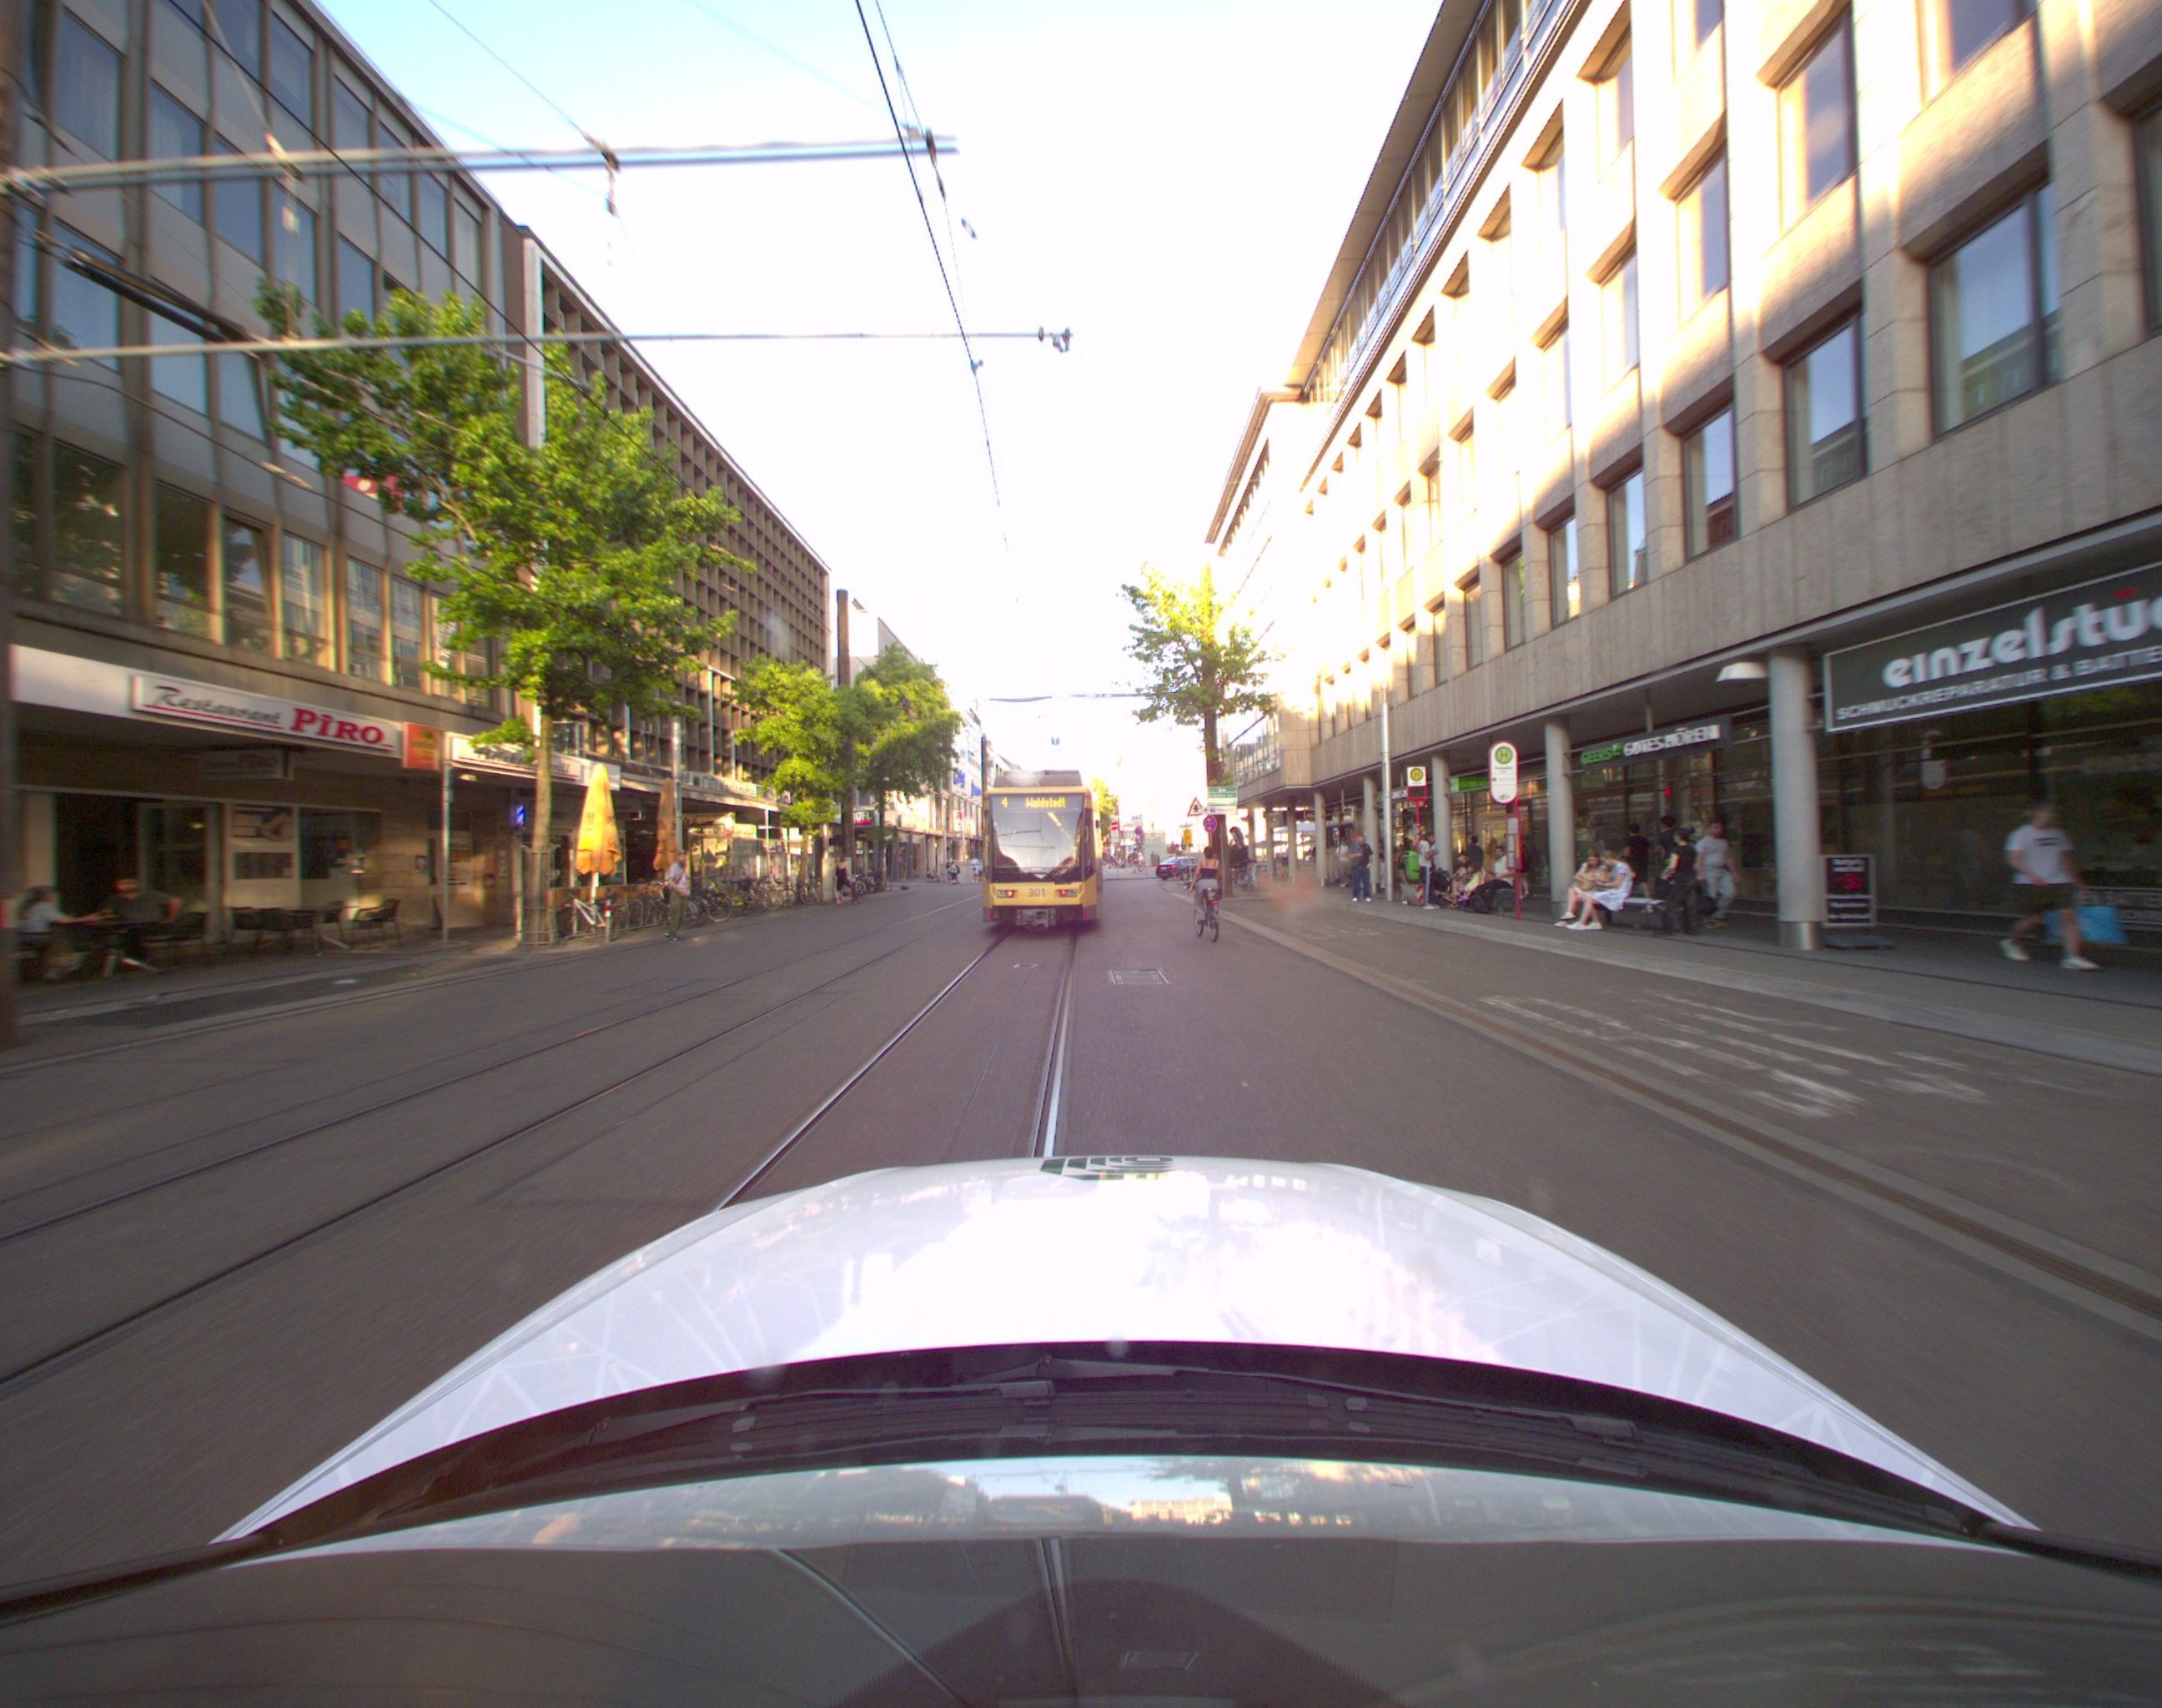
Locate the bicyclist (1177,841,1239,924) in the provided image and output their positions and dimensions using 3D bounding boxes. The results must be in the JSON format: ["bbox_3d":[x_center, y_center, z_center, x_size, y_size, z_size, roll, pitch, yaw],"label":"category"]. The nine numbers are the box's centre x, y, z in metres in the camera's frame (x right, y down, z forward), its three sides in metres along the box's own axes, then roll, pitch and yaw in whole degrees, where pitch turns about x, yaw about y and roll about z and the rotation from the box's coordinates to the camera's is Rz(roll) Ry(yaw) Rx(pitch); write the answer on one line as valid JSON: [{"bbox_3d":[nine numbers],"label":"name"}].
[{"bbox_3d":[2.354,0.522,15.219,0.995,1.502,0.856,0,0,-4],"label":"bicyclist"}]

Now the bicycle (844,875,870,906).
[{"bbox_3d":[-8.036,1.296,29.224,0.486,1.045,1.776,-1,0,-2],"label":"bicycle"}]

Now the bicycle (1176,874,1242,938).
[{"bbox_3d":[2.352,0.932,15.246,0.813,1.073,2.111,0,0,-3],"label":"bicycle"}]

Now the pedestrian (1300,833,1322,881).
[{"bbox_3d":[10.050,0.136,35.569,0.684,2.014,0.783,-2,-1,1],"label":"pedestrian"}]

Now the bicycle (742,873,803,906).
[{"bbox_3d":[-10.120,1.166,26.748,1.769,1.071,0.488,1,0,-6],"label":"bicycle"}]

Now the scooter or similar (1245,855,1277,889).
[{"bbox_3d":[6.896,0.681,31.239,1.119,1.251,0.492,-3,0,-30],"label":"scooter or similar"}]

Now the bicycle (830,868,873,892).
[{"bbox_3d":[-10.243,1.152,36.373,1.766,1.045,0.489,0,0,0],"label":"bicycle"}]

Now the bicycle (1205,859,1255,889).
[{"bbox_3d":[6.552,0.878,35.787,1.992,1.155,0.724,-4,0,-5],"label":"bicycle"}]

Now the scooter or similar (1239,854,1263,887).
[{"bbox_3d":[6.853,0.667,32.763,0.388,1.251,1.199,-2,0,39],"label":"scooter or similar"}]

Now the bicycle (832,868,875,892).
[{"bbox_3d":[-10.236,1.154,36.616,1.766,1.045,0.489,0,0,0],"label":"bicycle"}]

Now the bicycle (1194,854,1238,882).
[{"bbox_3d":[6.549,0.683,39.477,1.911,1.222,0.762,-4,0,-5],"label":"bicycle"}]

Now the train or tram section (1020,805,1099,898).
[{"bbox_3d":[-0.751,-0.068,36.974,2.791,3.319,14.507,-1,0,0],"label":"train or tram section"}]

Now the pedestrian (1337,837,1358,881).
[{"bbox_3d":[11.531,0.206,35.205,0.659,1.848,0.720,-2,-1,6],"label":"pedestrian"}]

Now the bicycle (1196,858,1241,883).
[{"bbox_3d":[6.540,0.766,38.729,1.911,1.078,0.762,-4,0,-5],"label":"bicycle"}]

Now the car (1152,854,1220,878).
[{"bbox_3d":[6.558,0.733,50.752,4.067,1.409,1.757,0,-2,-33],"label":"car"}]

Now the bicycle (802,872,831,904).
[{"bbox_3d":[-9.406,1.185,29.036,0.486,1.045,1.776,-1,0,-2],"label":"bicycle"}]

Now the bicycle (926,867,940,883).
[{"bbox_3d":[-10.824,1.539,59.495,0.496,1.107,1.803,-1,1,6],"label":"bicycle"}]

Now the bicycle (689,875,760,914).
[{"bbox_3d":[-10.103,1.139,23.090,1.769,1.071,0.488,1,0,-6],"label":"bicycle"}]

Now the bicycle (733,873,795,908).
[{"bbox_3d":[-10.137,1.172,26.095,1.769,1.071,0.488,1,0,-6],"label":"bicycle"}]

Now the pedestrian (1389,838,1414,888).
[{"bbox_3d":[11.517,0.323,29.291,0.568,1.731,0.617,-2,-1,-1],"label":"pedestrian"}]

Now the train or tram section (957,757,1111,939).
[{"bbox_3d":[-0.840,-0.098,22.435,2.791,3.319,14.507,-1,0,0],"label":"train or tram section"}]

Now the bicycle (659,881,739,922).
[{"bbox_3d":[-9.633,1.191,20.575,1.769,0.990,0.488,0,0,-6],"label":"bicycle"}]

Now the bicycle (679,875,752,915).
[{"bbox_3d":[-10.090,1.132,22.512,1.769,1.071,0.488,1,0,-6],"label":"bicycle"}]

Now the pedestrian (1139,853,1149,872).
[{"bbox_3d":[6.115,0.848,78.732,0.734,1.823,0.816,-1,-1,-14],"label":"pedestrian"}]

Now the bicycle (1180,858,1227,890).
[{"bbox_3d":[5.526,0.899,36.669,1.911,1.333,0.724,-4,0,-5],"label":"bicycle"}]

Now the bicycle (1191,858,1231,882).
[{"bbox_3d":[6.560,0.801,41.196,1.848,1.109,0.666,-3,0,-2],"label":"bicycle"}]

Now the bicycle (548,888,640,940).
[{"bbox_3d":[-9.683,1.176,16.188,1.758,0.966,0.491,0,-1,17],"label":"bicycle"}]

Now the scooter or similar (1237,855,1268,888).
[{"bbox_3d":[6.782,0.675,32.174,1.194,1.251,0.389,-3,0,-29],"label":"scooter or similar"}]

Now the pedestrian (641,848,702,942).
[{"bbox_3d":[-8.142,0.783,16.180,0.827,1.793,0.978,0,-1,-44],"label":"pedestrian"}]

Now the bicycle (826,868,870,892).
[{"bbox_3d":[-10.227,1.145,35.795,1.766,1.045,0.489,0,0,0],"label":"bicycle"}]

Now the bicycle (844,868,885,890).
[{"bbox_3d":[-10.179,1.172,38.257,1.766,1.045,0.489,0,0,0],"label":"bicycle"}]

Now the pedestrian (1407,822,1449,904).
[{"bbox_3d":[8.010,0.213,18.820,0.637,1.839,0.668,-2,-1,1],"label":"pedestrian"}]

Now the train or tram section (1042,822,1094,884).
[{"bbox_3d":[-0.669,-0.037,51.511,2.791,3.319,14.507,-1,0,0],"label":"train or tram section"}]

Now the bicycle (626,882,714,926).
[{"bbox_3d":[-9.657,1.176,19.163,1.769,0.990,0.488,0,0,-6],"label":"bicycle"}]

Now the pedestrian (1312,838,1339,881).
[{"bbox_3d":[10.037,0.231,33.480,0.760,1.719,0.924,-2,-1,2],"label":"pedestrian"}]

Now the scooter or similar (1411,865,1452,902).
[{"bbox_3d":[8.541,0.718,19.883,0.827,0.884,0.689,0,-1,15],"label":"scooter or similar"}]

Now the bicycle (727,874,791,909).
[{"bbox_3d":[-10.089,1.166,25.550,1.769,1.071,0.488,1,0,-6],"label":"bicycle"}]

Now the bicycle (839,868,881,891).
[{"bbox_3d":[-10.223,1.166,37.677,1.766,1.045,0.489,0,0,0],"label":"bicycle"}]

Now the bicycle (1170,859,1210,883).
[{"bbox_3d":[5.487,0.857,40.925,1.848,1.109,0.666,-3,0,-2],"label":"bicycle"}]

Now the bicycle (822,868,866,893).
[{"bbox_3d":[-10.236,1.139,35.224,1.766,1.045,0.489,0,0,0],"label":"bicycle"}]

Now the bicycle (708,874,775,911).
[{"bbox_3d":[-10.137,1.153,24.330,1.769,1.071,0.488,1,0,-6],"label":"bicycle"}]

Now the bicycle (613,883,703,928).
[{"bbox_3d":[-9.655,1.170,18.634,1.769,0.990,0.488,0,0,-6],"label":"bicycle"}]
